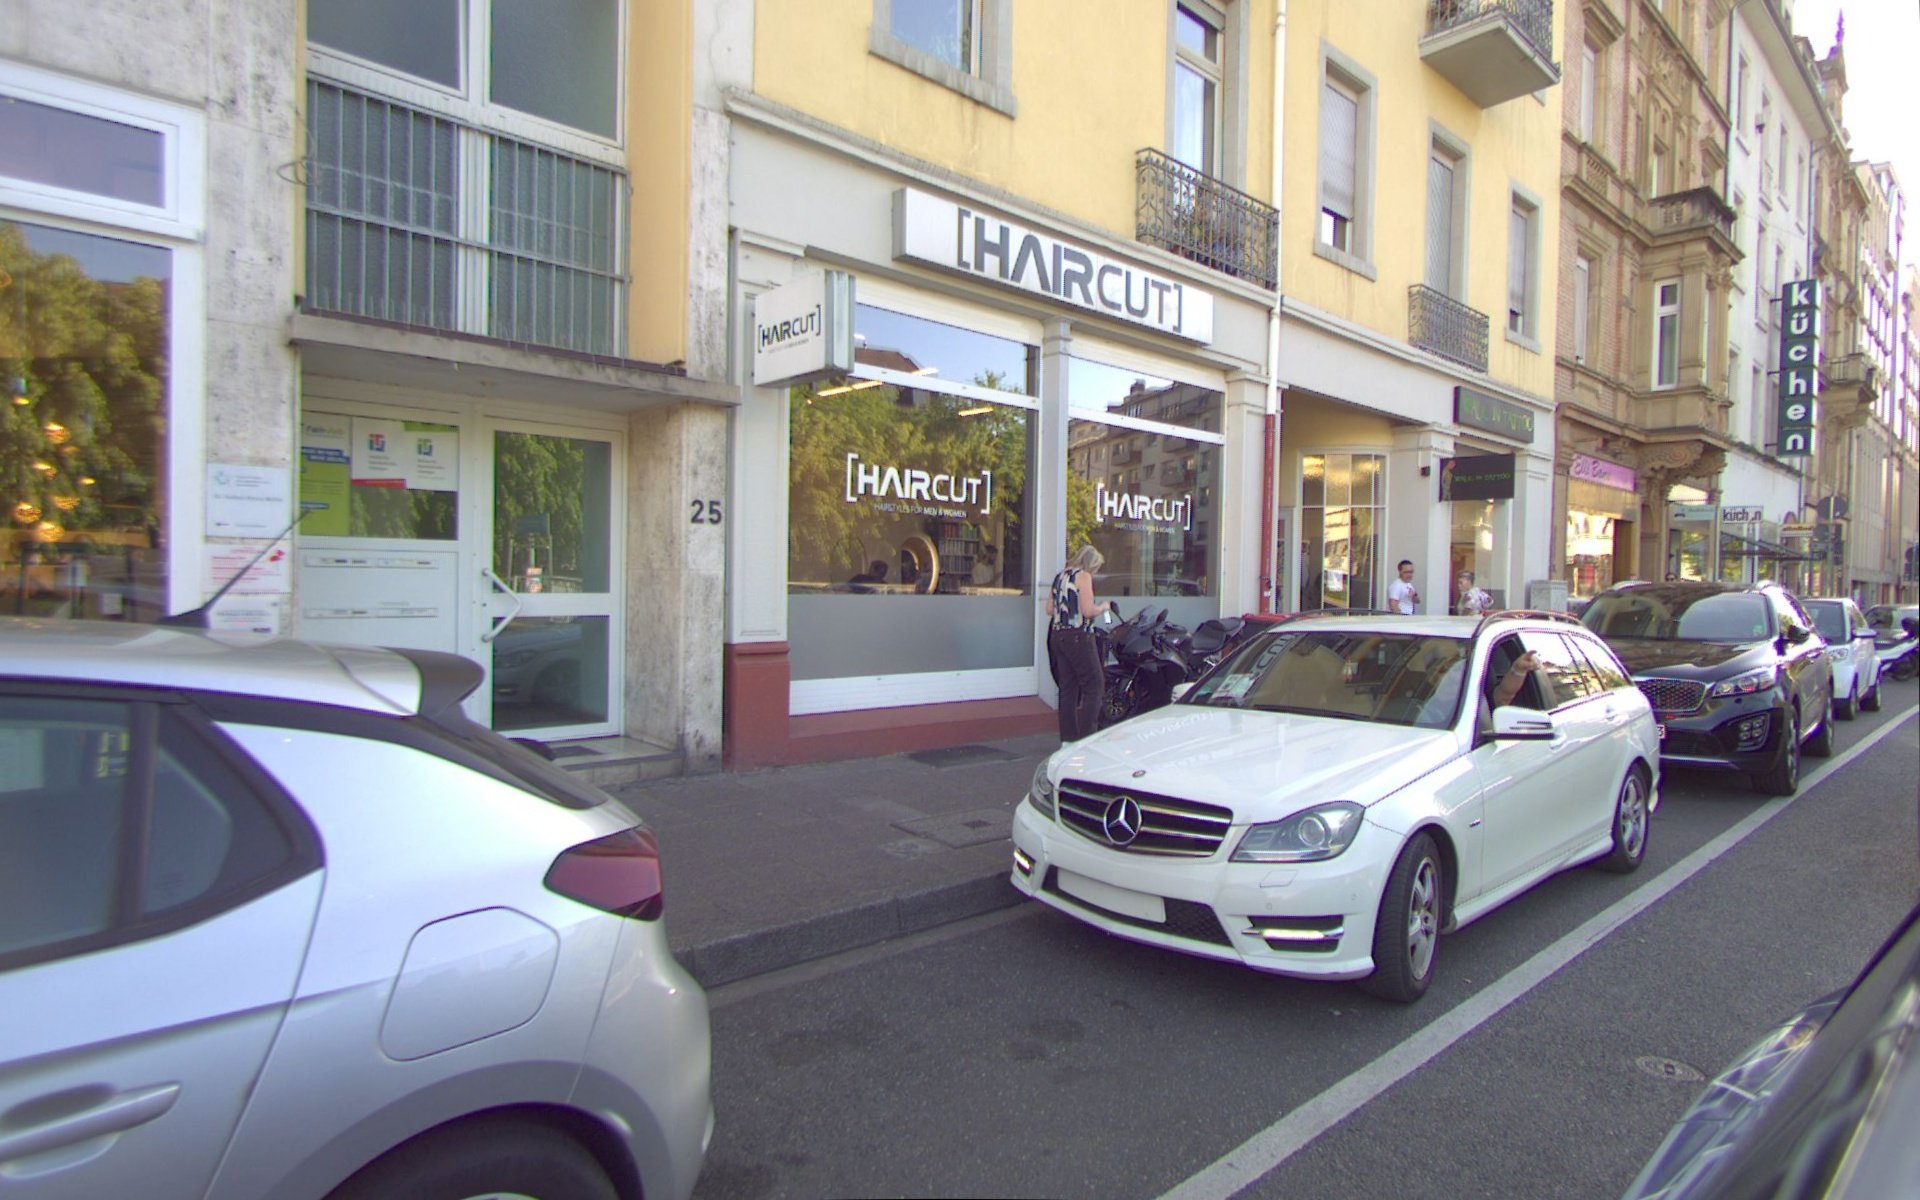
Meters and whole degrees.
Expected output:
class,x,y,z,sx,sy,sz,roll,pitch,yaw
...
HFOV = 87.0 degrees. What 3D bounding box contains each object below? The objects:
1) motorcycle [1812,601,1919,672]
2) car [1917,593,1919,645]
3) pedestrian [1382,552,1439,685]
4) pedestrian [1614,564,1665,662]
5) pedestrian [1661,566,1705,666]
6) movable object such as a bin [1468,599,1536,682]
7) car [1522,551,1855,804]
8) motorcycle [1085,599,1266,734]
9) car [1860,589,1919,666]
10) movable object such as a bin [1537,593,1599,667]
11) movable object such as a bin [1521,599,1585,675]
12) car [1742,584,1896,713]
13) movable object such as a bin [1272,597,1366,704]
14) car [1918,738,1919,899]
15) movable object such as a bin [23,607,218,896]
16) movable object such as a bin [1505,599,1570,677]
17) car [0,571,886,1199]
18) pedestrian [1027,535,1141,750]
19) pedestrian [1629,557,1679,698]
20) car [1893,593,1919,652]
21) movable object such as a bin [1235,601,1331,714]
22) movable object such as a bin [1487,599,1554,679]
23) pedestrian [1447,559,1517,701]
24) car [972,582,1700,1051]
class,x,y,z,sx,sy,sz,roll,pitch,yaw
motorcycle,17.781,0.688,19.334,2.137,1.295,0.866,1,0,8
car,28.568,0.533,28.702,3.736,1.435,1.736,0,1,-41
pedestrian,5.759,0.230,12.952,0.513,1.681,0.339,1,1,-18
pedestrian,11.721,0.216,17.465,0.454,1.653,0.618,0,0,-39
pedestrian,12.188,0.252,17.058,0.408,1.653,0.514,0,0,-43
movable object such as a bin,7.558,0.550,14.117,0.608,1.079,0.606,0,4,-41
car,6.824,0.515,9.268,4.498,1.758,1.756,0,1,-45
motorcycle,2.027,0.555,9.319,1.975,1.105,0.551,0,2,-42
car,20.806,0.544,21.831,4.096,1.537,1.734,0,1,-44
movable object such as a bin,9.445,0.456,15.728,0.608,1.079,0.606,0,4,-41
movable object such as a bin,8.977,0.547,15.322,0.608,1.079,0.606,0,4,-41
car,11.504,0.567,13.509,2.748,1.537,1.273,0,1,-44
movable object such as a bin,3.797,0.511,10.717,0.608,1.037,0.669,1,3,-38
car,6.816,0.711,5.582,4.297,1.467,1.846,0,1,-41
movable object such as a bin,-3.658,0.597,4.423,0.608,1.080,0.704,0,4,-41
movable object such as a bin,8.505,0.539,14.916,0.608,1.079,0.606,0,4,-41
car,-2.168,0.676,1.335,4.010,1.445,1.671,0,1,-44
pedestrian,0.999,0.310,8.188,0.523,1.653,0.697,0,2,-42
pedestrian,9.044,0.345,13.180,0.473,1.785,0.434,0,0,-41
car,25.307,0.554,25.896,3.736,1.435,1.736,0,1,-41
movable object such as a bin,3.289,0.565,10.318,0.608,1.054,0.661,1,3,-38
movable object such as a bin,8.047,0.545,14.523,0.608,1.079,0.606,0,4,-41
pedestrian,6.355,0.349,12.335,0.583,1.681,0.450,2,1,9
car,2.261,0.662,5.306,4.387,1.465,1.741,0,1,-42
